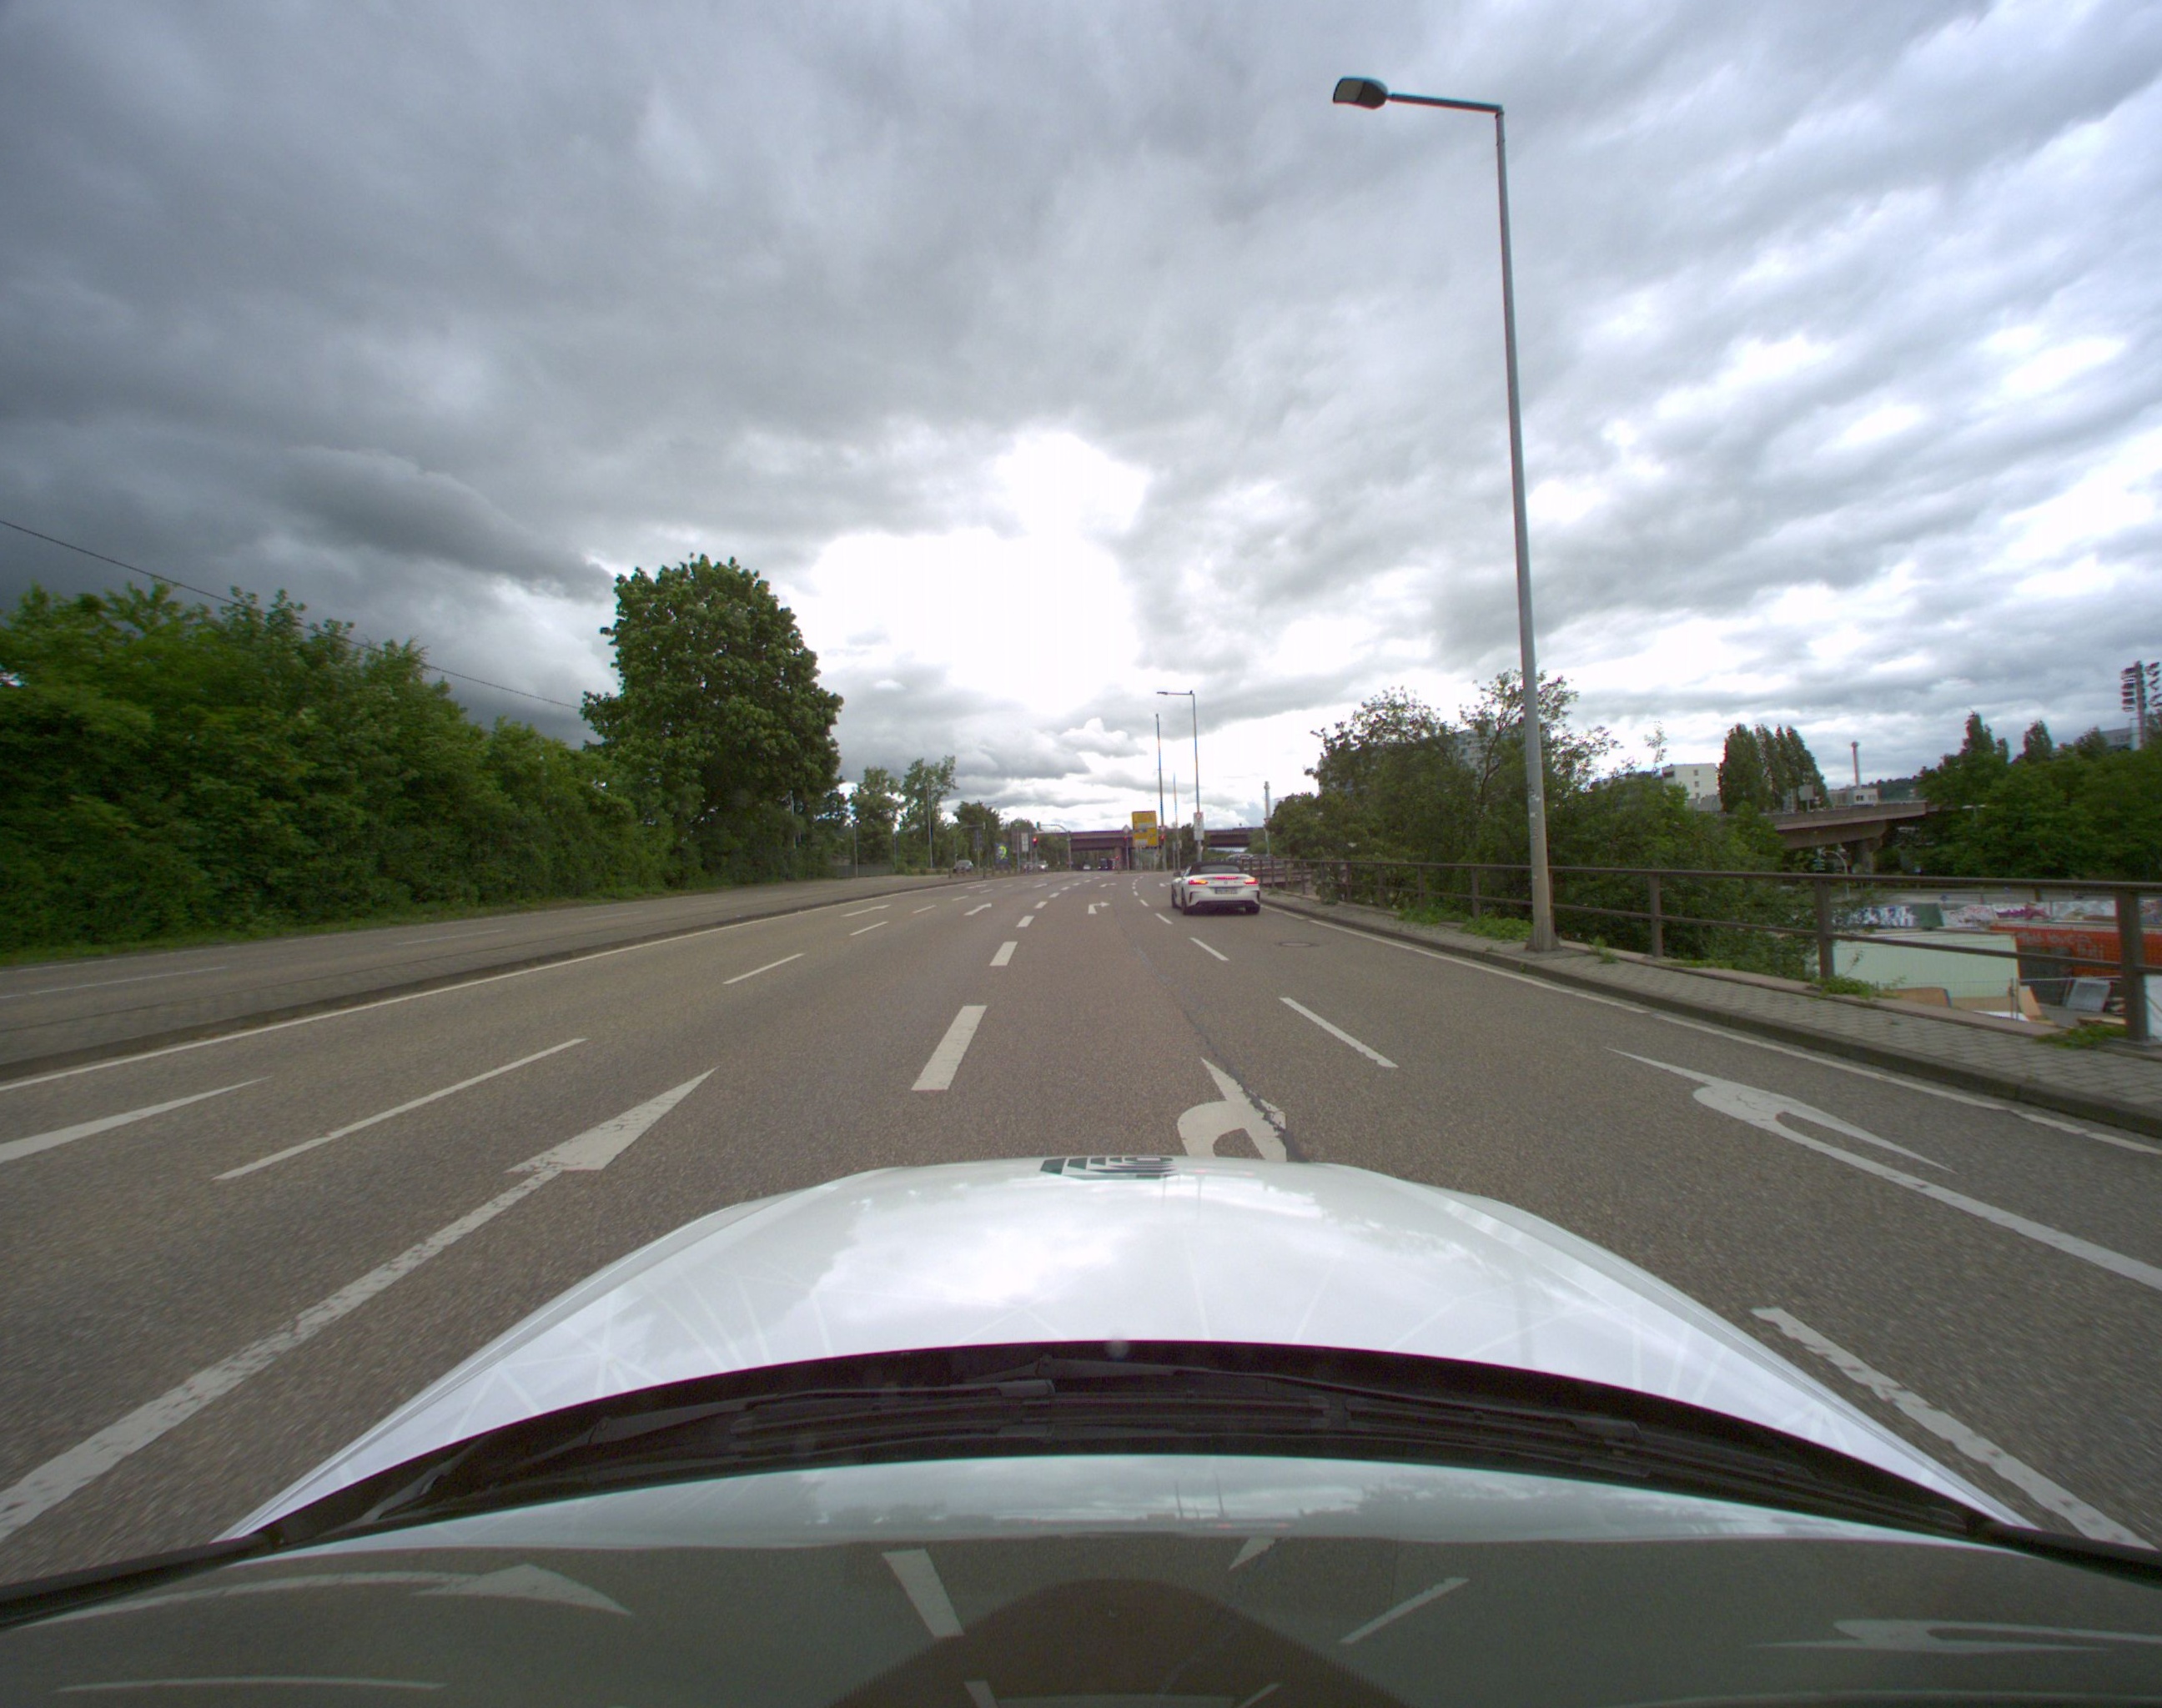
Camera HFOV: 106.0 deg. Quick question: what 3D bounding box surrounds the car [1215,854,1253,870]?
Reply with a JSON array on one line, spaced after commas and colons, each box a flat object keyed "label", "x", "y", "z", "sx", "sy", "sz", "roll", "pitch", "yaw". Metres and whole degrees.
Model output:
[{"label": "car", "x": 18.457, "y": 0.983, "z": 98.484, "sx": 4.350, "sy": 1.758, "sz": 2.003, "roll": -3, "pitch": -3, "yaw": 5}]

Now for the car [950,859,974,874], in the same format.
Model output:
[{"label": "car", "x": -11.748, "y": 1.204, "z": 80.853, "sx": 1.754, "sy": 1.484, "sz": 3.486, "roll": 0, "pitch": -1, "yaw": 2}]

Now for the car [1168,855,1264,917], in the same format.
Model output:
[{"label": "car", "x": 3.350, "y": 0.750, "z": 20.926, "sx": 1.868, "sy": 1.309, "sz": 3.875, "roll": -2, "pitch": 1, "yaw": 1}]

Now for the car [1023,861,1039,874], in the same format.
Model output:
[{"label": "car", "x": -6.863, "y": 1.865, "z": 112.188, "sx": 1.765, "sy": 1.645, "sz": 3.826, "roll": 0, "pitch": -1, "yaw": 2}]

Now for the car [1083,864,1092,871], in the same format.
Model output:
[{"label": "car", "x": 1.655, "y": 3.244, "z": 200.378, "sx": 1.732, "sy": 1.537, "sz": 3.677, "roll": -1, "pitch": 0, "yaw": 6}]

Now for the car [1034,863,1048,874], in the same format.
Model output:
[{"label": "car", "x": -5.834, "y": 2.090, "z": 119.775, "sx": 1.765, "sy": 1.633, "sz": 3.826, "roll": 0, "pitch": -1, "yaw": 2}]

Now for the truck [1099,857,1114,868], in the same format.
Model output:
[{"label": "truck", "x": 7.357, "y": 2.492, "z": 230.667, "sx": 2.906, "sy": 3.146, "sz": 10.138, "roll": 0, "pitch": -1, "yaw": 10}]
